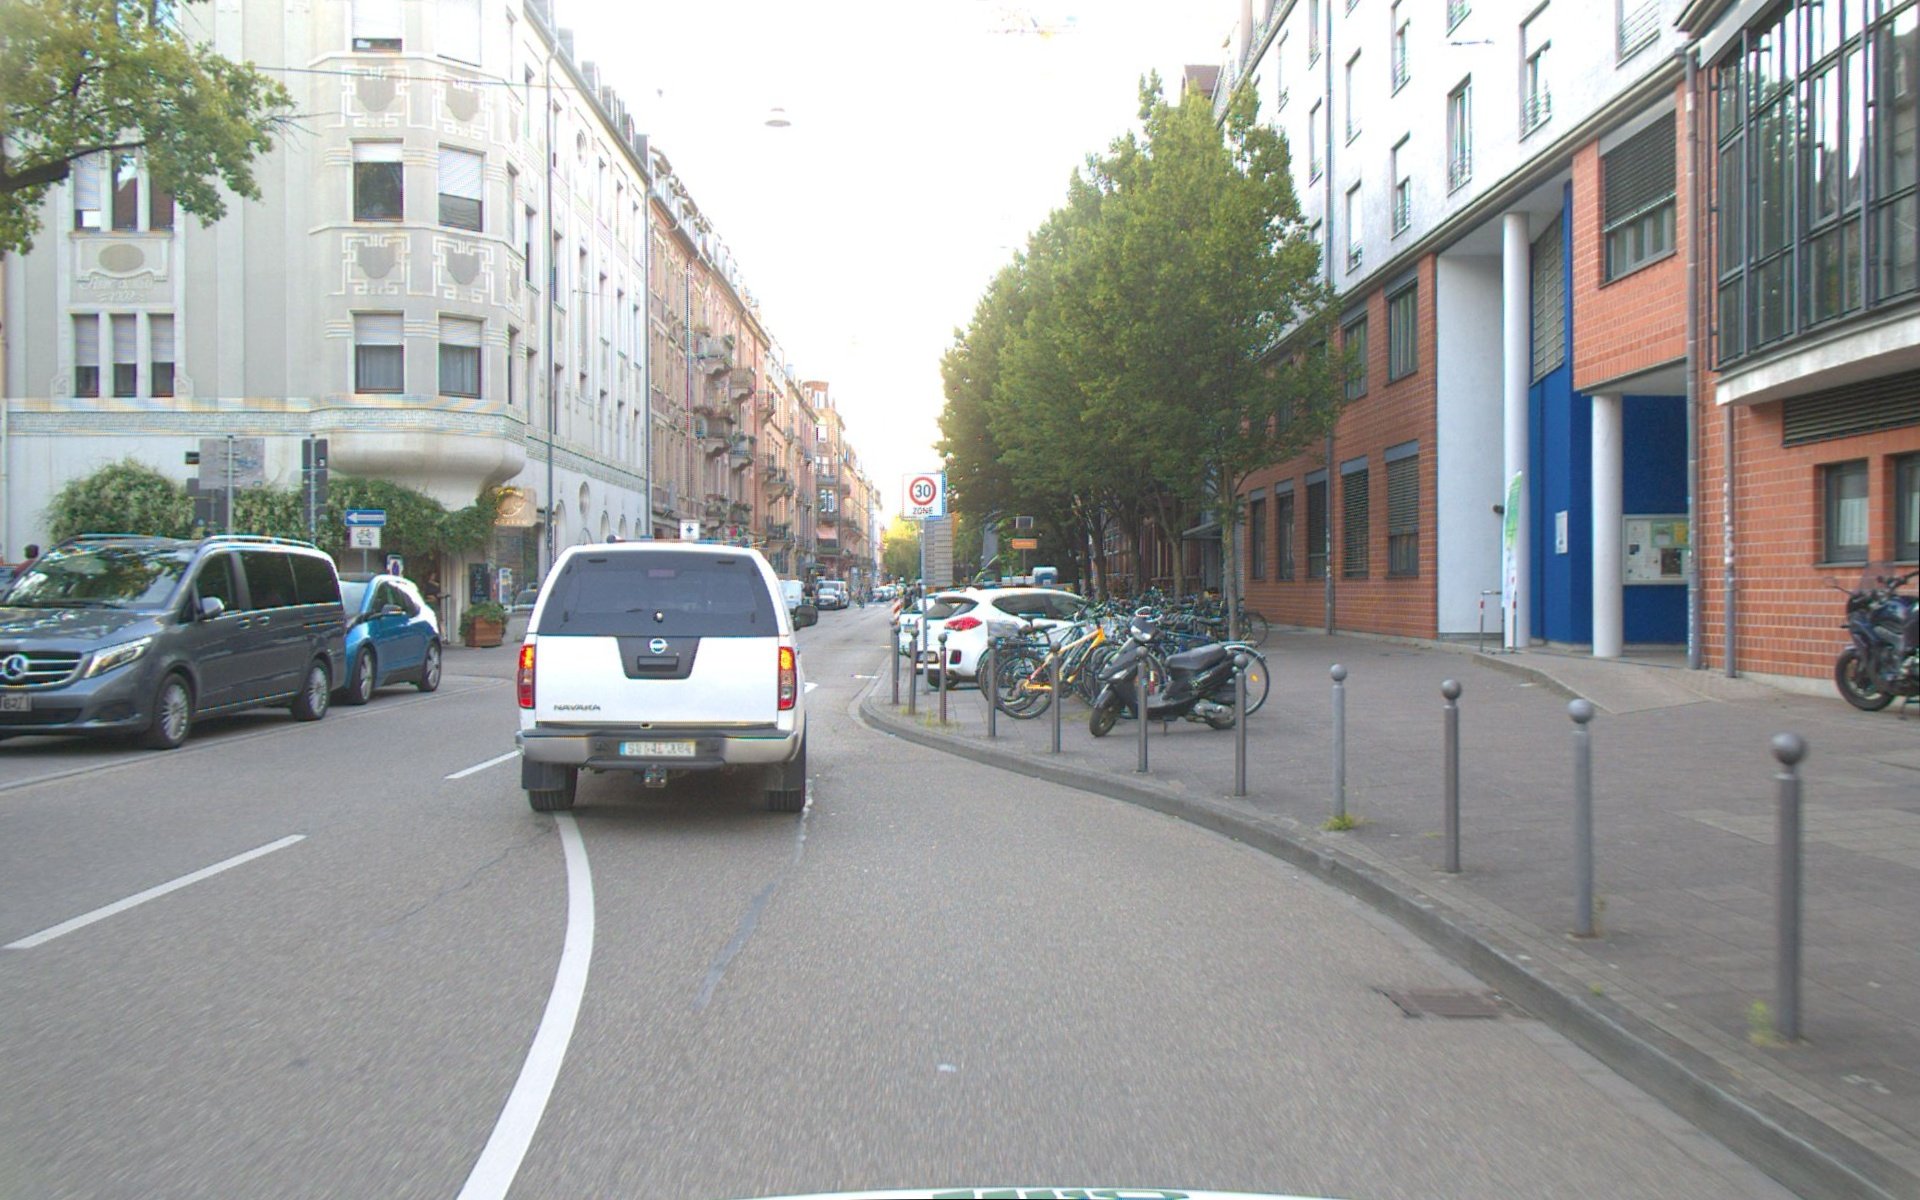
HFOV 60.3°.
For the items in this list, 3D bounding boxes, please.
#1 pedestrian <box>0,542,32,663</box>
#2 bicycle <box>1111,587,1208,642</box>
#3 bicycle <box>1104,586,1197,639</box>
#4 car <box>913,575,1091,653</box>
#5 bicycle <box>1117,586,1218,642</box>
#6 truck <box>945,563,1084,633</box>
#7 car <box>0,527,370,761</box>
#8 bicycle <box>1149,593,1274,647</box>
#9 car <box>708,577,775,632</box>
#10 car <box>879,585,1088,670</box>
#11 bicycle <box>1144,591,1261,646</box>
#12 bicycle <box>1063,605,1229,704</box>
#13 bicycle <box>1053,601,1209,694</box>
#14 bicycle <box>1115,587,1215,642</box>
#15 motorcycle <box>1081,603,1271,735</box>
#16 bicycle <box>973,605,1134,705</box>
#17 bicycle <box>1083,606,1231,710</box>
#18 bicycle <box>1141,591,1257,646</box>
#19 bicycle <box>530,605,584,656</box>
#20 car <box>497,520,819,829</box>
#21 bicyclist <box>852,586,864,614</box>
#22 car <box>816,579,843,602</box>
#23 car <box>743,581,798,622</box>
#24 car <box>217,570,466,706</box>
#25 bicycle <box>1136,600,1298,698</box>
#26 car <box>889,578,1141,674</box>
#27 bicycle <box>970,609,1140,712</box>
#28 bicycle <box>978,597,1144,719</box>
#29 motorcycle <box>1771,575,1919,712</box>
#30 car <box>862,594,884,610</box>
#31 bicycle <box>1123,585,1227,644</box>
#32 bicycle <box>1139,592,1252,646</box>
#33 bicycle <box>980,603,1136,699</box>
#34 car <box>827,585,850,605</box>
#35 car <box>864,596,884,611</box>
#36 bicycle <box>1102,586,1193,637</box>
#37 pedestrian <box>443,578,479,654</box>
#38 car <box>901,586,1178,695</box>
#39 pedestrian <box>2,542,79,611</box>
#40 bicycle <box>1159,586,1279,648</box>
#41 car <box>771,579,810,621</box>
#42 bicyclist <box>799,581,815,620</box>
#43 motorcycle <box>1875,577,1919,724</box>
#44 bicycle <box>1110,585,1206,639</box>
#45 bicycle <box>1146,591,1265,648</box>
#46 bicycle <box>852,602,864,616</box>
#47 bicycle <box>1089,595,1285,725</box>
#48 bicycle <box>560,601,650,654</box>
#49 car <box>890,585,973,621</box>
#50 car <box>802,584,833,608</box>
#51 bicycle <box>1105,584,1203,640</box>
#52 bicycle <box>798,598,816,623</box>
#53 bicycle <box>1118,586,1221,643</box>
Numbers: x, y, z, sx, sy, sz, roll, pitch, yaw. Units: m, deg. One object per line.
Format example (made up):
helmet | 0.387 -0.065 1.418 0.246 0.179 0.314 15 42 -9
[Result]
pedestrian | -14.300 0.037 24.456 0.692 1.751 0.836 -1 0 -3
bicycle | 5.213 0.381 43.252 2.482 1.403 0.599 0 0 1
bicycle | 5.208 0.341 45.309 2.482 1.403 0.599 0 0 1
car | 0.925 0.269 35.876 3.563 1.608 1.696 -1 0 -34
bicycle | 5.231 0.346 41.772 2.482 1.403 0.599 0 0 1
truck | 2.439 -0.060 74.731 6.190 3.029 2.264 1 -3 0
car | -7.687 0.340 16.084 1.952 1.899 5.290 0 0 0
bicycle | 5.284 0.416 34.850 2.482 0.976 0.680 -4 0 1
car | -8.125 0.138 61.805 1.866 1.959 4.946 1 0 0
car | 0.485 0.502 32.985 3.948 1.564 1.618 -1 1 -32
bicycle | 5.291 0.403 36.134 2.482 1.187 0.562 0 0 1
bicycle | 2.131 0.621 19.034 1.820 1.056 0.402 -2 0 -3
bicycle | 2.152 0.587 20.917 1.873 1.084 0.524 -2 0 -3
bicycle | 5.260 0.368 42.540 2.482 1.403 0.599 0 0 1
motorcycle | 2.018 0.631 15.522 1.614 1.121 0.646 -3 1 -10
bicycle | 1.088 0.641 19.450 1.820 1.084 0.445 -2 0 -3
bicycle | 2.137 0.621 17.989 1.509 1.056 0.471 -2 0 -3
bicycle | 5.299 0.408 36.744 2.482 1.187 0.562 0 0 1
bicycle | -8.722 0.651 35.861 0.414 1.030 1.720 0 1 13
car | -2.058 0.444 12.210 1.896 1.826 4.615 0 0 -7
bicyclist | -6.981 -0.021 112.827 0.784 1.882 0.943 1 0 -3
car | -9.158 -0.642 116.172 1.675 1.557 3.999 1 0 -1
car | -7.989 0.054 69.955 1.953 1.681 3.999 0 0 -1
car | -7.783 0.426 21.214 1.606 1.583 4.005 0 0 1
bicycle | 3.071 0.580 19.829 1.820 1.084 0.524 -2 0 -3
car | 0.957 0.419 28.040 3.952 1.499 1.853 -1 -1 -34
bicycle | 1.045 0.664 18.436 1.820 1.056 0.471 -2 0 -3
bicycle | 1.053 0.600 17.402 1.673 1.196 0.471 -2 0 -3
motorcycle | 8.168 0.354 14.862 0.576 1.122 2.082 -3 0 -4
car | -8.574 0.157 163.213 1.808 1.579 4.356 0 0 2
bicycle | 5.233 0.355 40.359 2.482 1.403 0.599 0 0 1
bicycle | 5.305 0.418 37.355 2.482 1.187 0.562 0 0 1
bicycle | 1.179 0.611 20.092 1.820 1.084 0.445 -2 0 -3
car | -9.819 -0.413 133.811 1.810 1.579 4.352 0 0 -3
car | -9.251 0.335 178.527 1.808 1.579 4.357 0 0 2
bicycle | 5.207 0.312 46.014 2.482 1.403 0.599 0 0 1
pedestrian | -11.370 0.359 37.696 0.604 1.704 0.565 0 0 39
car | 1.238 0.566 25.294 3.946 1.533 1.752 -1 0 -31
pedestrian | -13.595 -0.341 24.471 0.692 0.997 0.836 -1 0 -3
bicycle | 5.256 0.344 33.642 2.298 1.118 0.680 -4 0 1
car | -8.289 -0.007 81.205 1.528 1.955 3.855 2 0 -1
bicyclist | -6.687 0.012 72.384 0.590 1.714 1.142 0 0 -1
motorcycle | 8.150 0.392 12.449 0.762 1.159 2.407 -2 0 -14
bicycle | 5.245 0.316 43.971 2.482 1.403 0.599 0 0 1
bicycle | 5.257 0.418 35.523 2.482 1.187 0.562 0 0 1
bicycle | -6.990 0.601 112.894 0.784 0.963 2.003 1 0 -3
bicycle | 2.274 0.593 16.711 1.821 1.166 0.659 -3 0 -2
bicycle | -7.915 0.606 36.864 2.067 1.114 0.501 1 1 24
car | -1.465 0.144 85.474 4.107 1.811 1.821 1 0 5
car | -9.452 -0.259 110.127 1.755 1.557 4.000 1 0 -1
bicycle | 5.218 0.314 44.667 2.483 1.266 0.599 -6 0 1
bicycle | -6.688 0.461 72.370 0.602 1.058 1.903 0 0 -1
bicycle | 5.197 0.352 41.072 2.482 1.403 0.599 0 0 1
